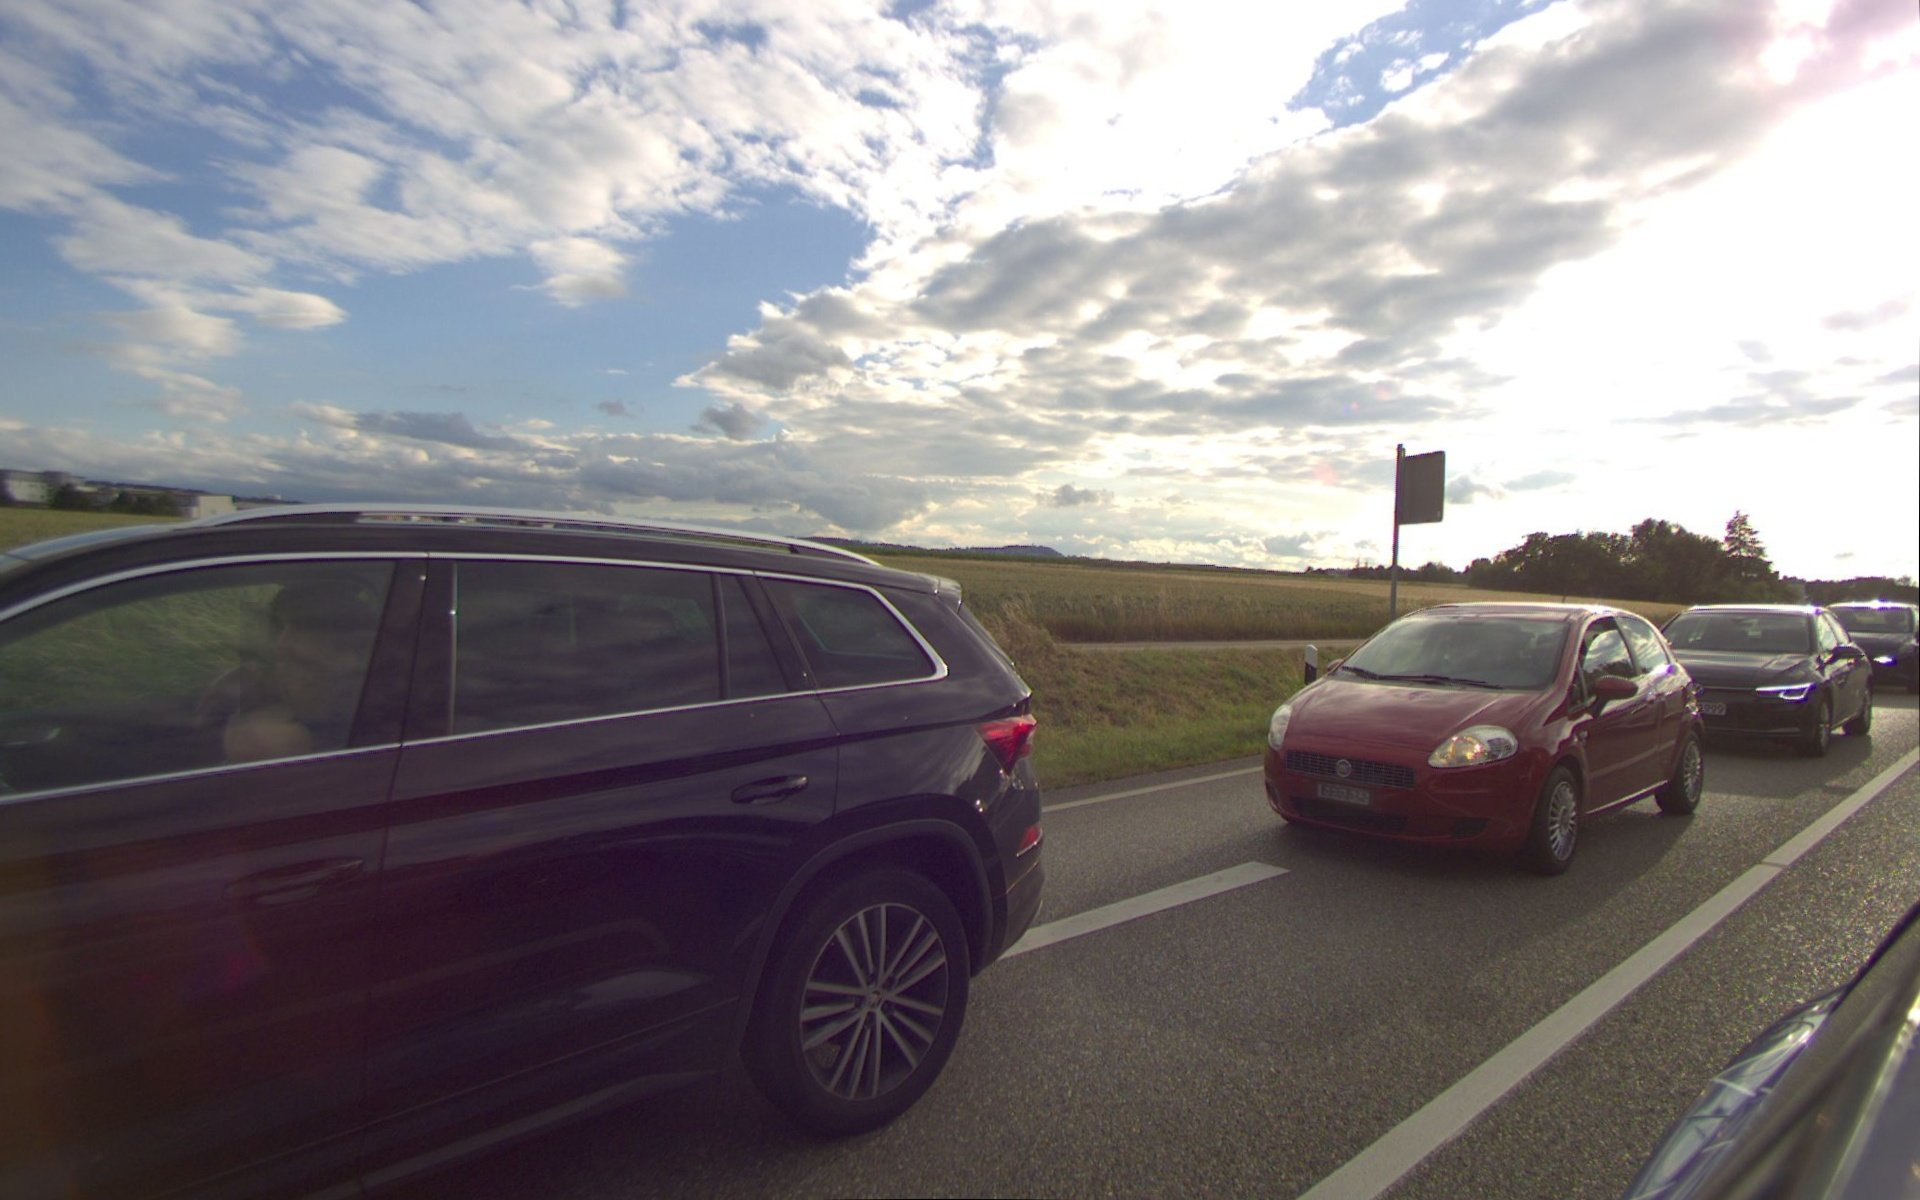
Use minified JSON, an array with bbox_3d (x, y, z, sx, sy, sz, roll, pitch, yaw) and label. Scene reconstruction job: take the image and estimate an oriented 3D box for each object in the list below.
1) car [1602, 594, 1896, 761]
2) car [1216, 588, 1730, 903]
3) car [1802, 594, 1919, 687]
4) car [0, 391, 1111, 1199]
[{"bbox_3d":[8.698,0.685,11.040,3.962,1.475,1.797,0,0,-41],"label":"car"},{"bbox_3d":[3.546,0.669,6.691,3.840,1.475,1.710,-1,0,-41],"label":"car"},{"bbox_3d":[16.534,0.645,17.987,3.962,1.475,1.797,0,0,-41],"label":"car"},{"bbox_3d":[-1.796,0.532,2.543,4.477,1.730,1.839,-1,0,-41],"label":"car"}]
